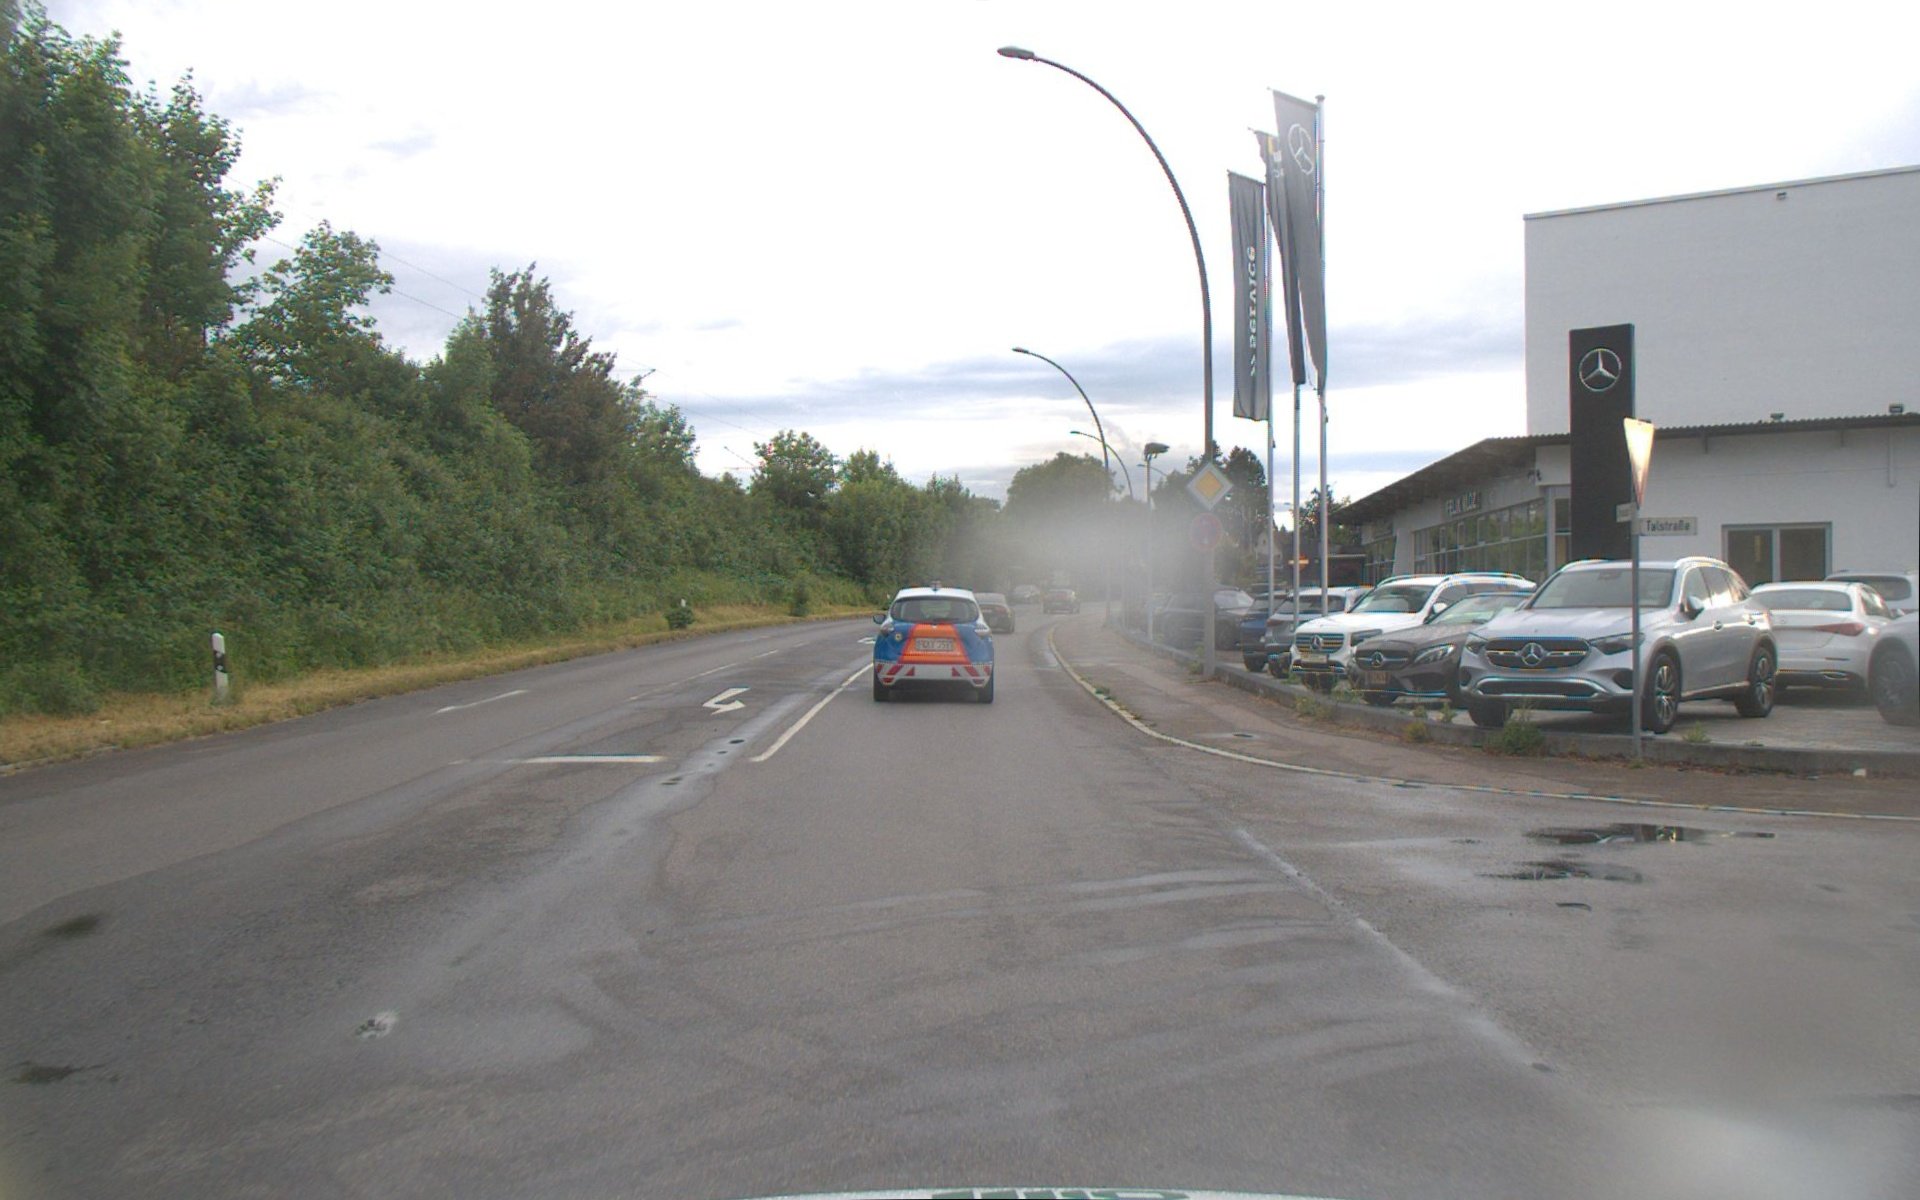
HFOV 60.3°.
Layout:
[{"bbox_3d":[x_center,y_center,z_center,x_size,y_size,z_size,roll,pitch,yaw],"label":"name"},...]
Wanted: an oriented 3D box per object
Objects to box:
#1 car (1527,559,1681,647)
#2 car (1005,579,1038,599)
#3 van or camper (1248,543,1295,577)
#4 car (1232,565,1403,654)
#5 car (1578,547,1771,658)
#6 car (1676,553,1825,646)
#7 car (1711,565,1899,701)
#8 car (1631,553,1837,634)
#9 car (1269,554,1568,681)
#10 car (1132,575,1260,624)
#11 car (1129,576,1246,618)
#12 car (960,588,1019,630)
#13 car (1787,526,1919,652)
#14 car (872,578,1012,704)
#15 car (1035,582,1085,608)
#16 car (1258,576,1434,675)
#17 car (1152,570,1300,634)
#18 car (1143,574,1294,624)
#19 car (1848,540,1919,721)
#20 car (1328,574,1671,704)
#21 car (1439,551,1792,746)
[{"bbox_3d":[12.677,0.019,32.436,1.865,1.572,3.985,-1,1,36],"label":"car"},{"bbox_3d":[4.901,-0.874,130.927,1.951,1.499,4.704,1,0,9],"label":"car"},{"bbox_3d":[25.103,-3.221,133.063,2.001,2.638,6.585,-2,1,25],"label":"van or camper"},{"bbox_3d":[7.580,0.175,34.798,1.807,1.660,4.349,-3,0,37],"label":"car"},{"bbox_3d":[11.277,0.096,25.995,1.651,1.479,3.902,-7,-6,39],"label":"car"},{"bbox_3d":[14.511,-0.045,30.255,1.865,1.572,3.987,-1,1,35],"label":"car"},{"bbox_3d":[10.738,0.352,20.977,1.922,1.525,4.359,0,0,28],"label":"car"},{"bbox_3d":[15.939,-0.128,34.101,3.495,1.503,1.772,-2,1,40],"label":"car"},{"bbox_3d":[6.827,0.206,24.466,4.375,1.681,1.904,-2,1,-35],"label":"car"},{"bbox_3d":[8.011,-0.035,56.239,3.927,1.583,1.888,1,0,41],"label":"car"},{"bbox_3d":[9.771,-0.137,71.165,4.600,1.691,1.994,1,0,34],"label":"car"},{"bbox_3d":[1.080,0.303,58.230,1.684,1.400,3.936,1,0,6],"label":"car"},{"bbox_3d":[13.841,-0.102,25.127,1.645,1.750,3.984,1,-1,36],"label":"car"},{"bbox_3d":[-0.295,0.552,24.261,1.850,1.660,3.999,1,0,-2],"label":"car"},{"bbox_3d":[5.872,-0.330,97.030,1.952,1.445,4.002,-1,0,18],"label":"car"},{"bbox_3d":[7.197,0.440,30.594,1.698,1.627,3.798,-2,0,38],"label":"car"},{"bbox_3d":[7.417,0.042,46.578,1.814,1.636,4.512,-3,2,-26],"label":"car"},{"bbox_3d":[8.208,-0.037,52.663,4.354,1.505,1.927,0,1,36],"label":"car"},{"bbox_3d":[9.883,0.282,14.494,1.770,1.702,4.710,0,0,1],"label":"car"},{"bbox_3d":[6.805,0.434,20.802,4.084,1.418,1.834,-2,1,-30],"label":"car"},{"bbox_3d":[6.725,0.404,16.715,1.932,1.700,4.338,0,0,42],"label":"car"}]
